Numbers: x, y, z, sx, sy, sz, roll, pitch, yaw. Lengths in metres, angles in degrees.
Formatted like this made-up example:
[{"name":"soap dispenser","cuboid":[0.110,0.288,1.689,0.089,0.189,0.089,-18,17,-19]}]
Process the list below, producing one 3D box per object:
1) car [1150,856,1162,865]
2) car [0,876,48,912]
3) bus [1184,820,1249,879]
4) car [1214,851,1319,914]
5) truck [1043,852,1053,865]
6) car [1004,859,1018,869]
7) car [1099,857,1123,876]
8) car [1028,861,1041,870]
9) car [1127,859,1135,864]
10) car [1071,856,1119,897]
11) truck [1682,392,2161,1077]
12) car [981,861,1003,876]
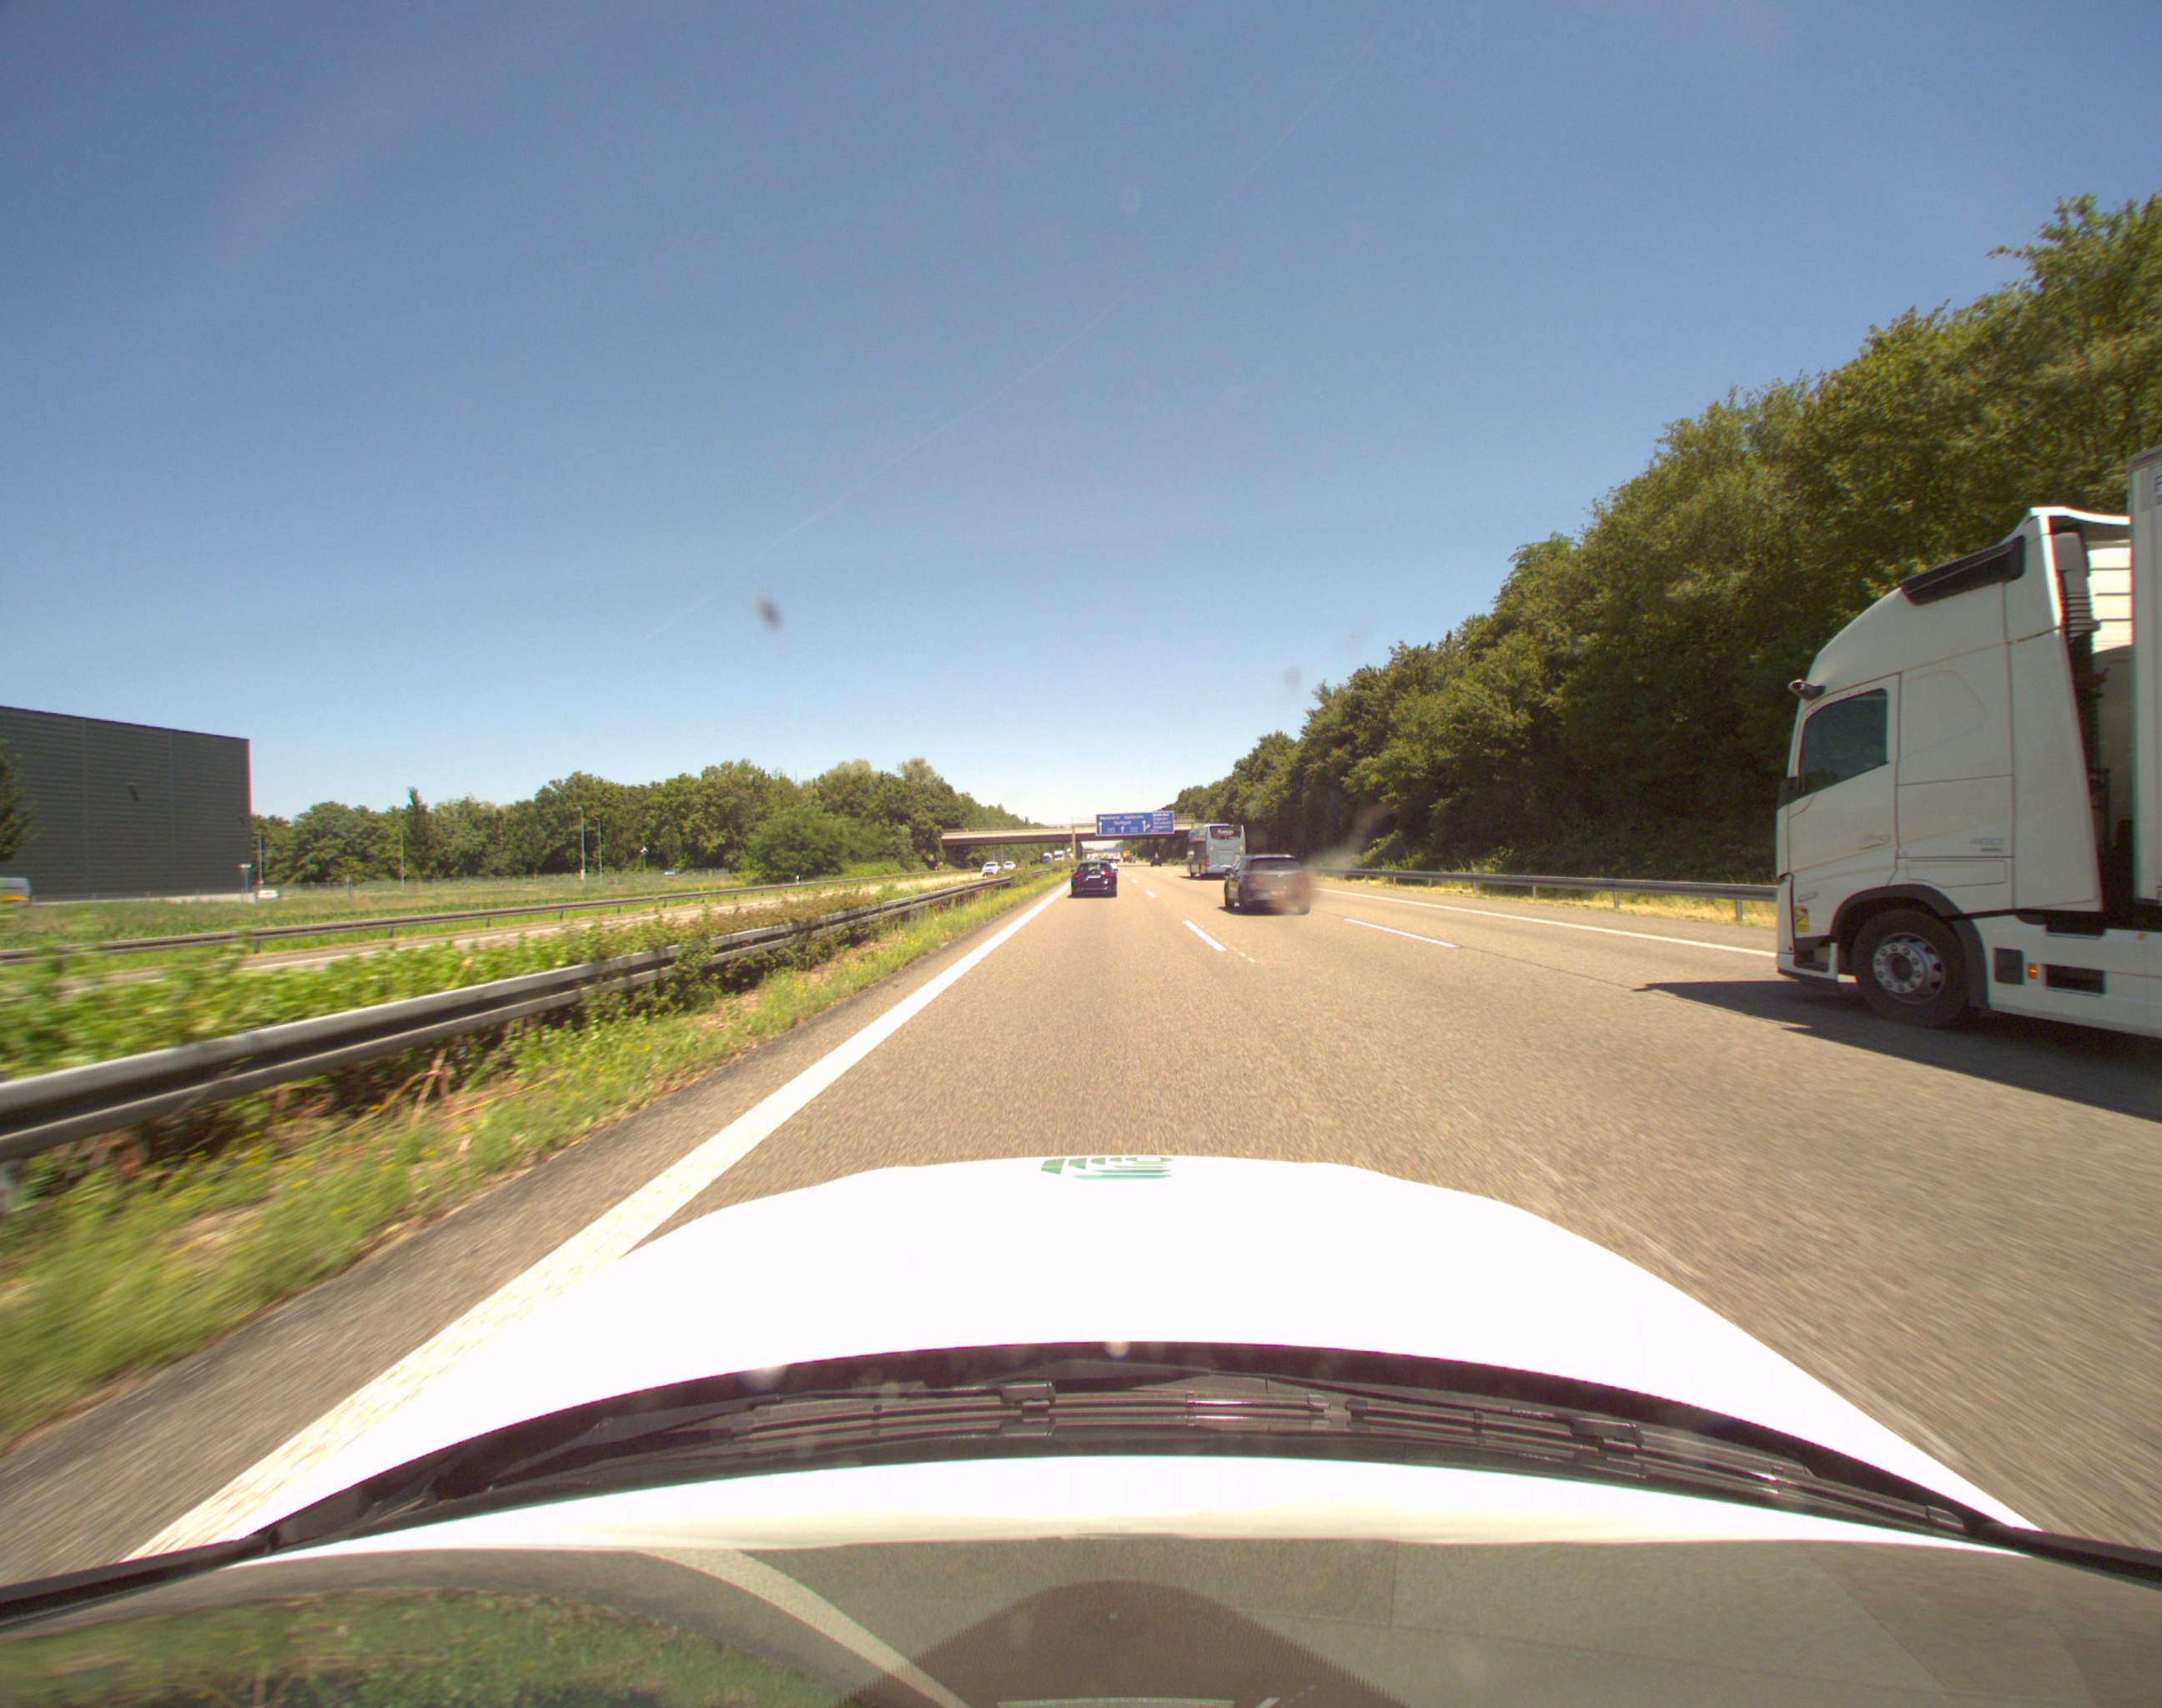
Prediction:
[{"name":"car","cuboid":[12.309,1.040,133.093,1.782,1.461,3.952,-1,0,3]},{"name":"car","cuboid":[-76.447,2.887,56.161,2.388,2.456,6.176,-2,0,2]},{"name":"bus","cuboid":[9.208,-0.263,56.651,2.791,3.596,12.479,-1,0,2]},{"name":"car","cuboid":[4.975,0.715,22.524,1.893,1.532,4.760,-1,0,1]},{"name":"truck","cuboid":[-9.998,1.464,246.072,2.351,3.775,5.253,-3,0,2]},{"name":"car","cuboid":[-12.437,1.822,144.719,1.893,1.594,4.743,-3,0,1]},{"name":"car","cuboid":[2.476,1.048,68.617,1.893,1.532,4.242,-1,0,1]},{"name":"car","cuboid":[-8.638,2.107,150.922,1.893,1.532,5.033,-5,-1,1]},{"name":"car","cuboid":[13.973,2.057,227.791,2.072,1.532,4.244,-1,0,3]},{"name":"car","cuboid":[0.561,0.832,32.581,1.793,1.502,4.242,-1,0,1]},{"name":"truck","cuboid":[8.198,-0.747,6.039,3.037,4.215,6.049,-1,0,1]},{"name":"car","cuboid":[-10.207,1.674,93.775,1.801,1.483,4.418,-4,0,2]}]
